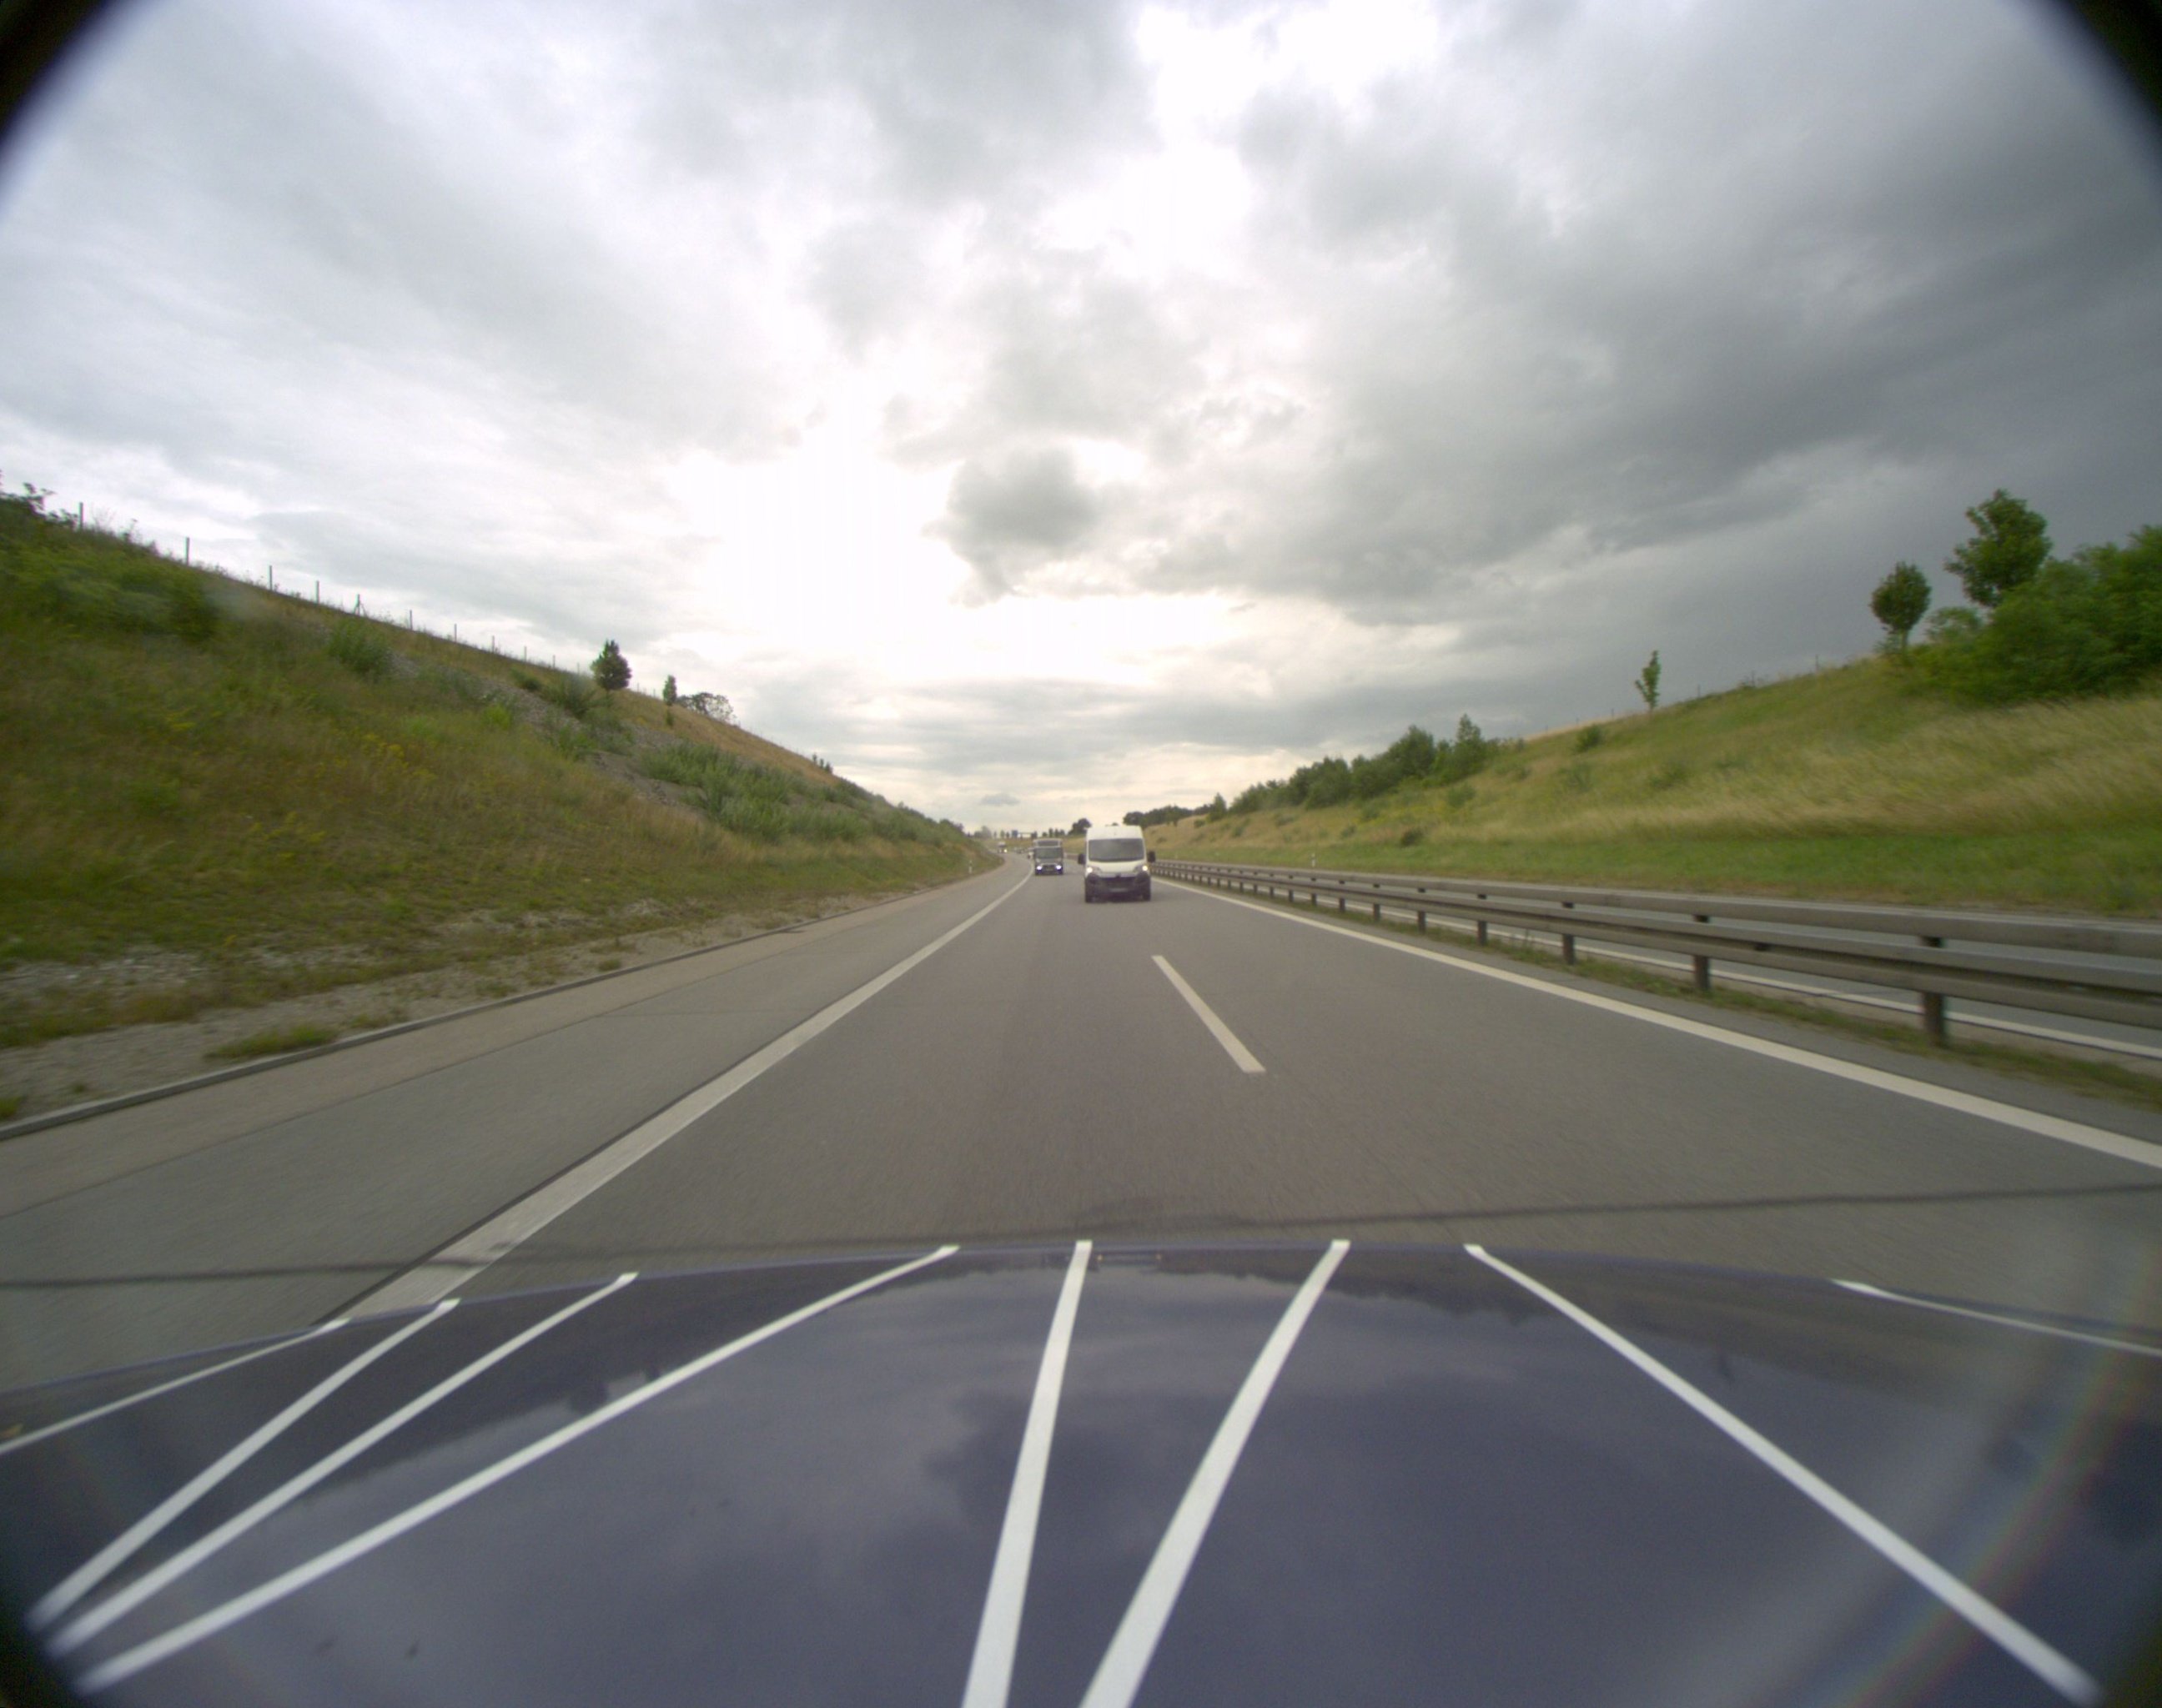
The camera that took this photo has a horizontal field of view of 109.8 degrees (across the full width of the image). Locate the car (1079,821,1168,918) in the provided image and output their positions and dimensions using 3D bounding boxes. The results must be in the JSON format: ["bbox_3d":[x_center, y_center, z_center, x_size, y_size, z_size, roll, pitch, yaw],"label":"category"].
[{"bbox_3d":[1.094,0.355,22.570,2.132,2.412,6.109,-2,1,-1],"label":"car"}]

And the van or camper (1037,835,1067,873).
[{"bbox_3d":[-2.196,-0.035,58.363,2.104,2.721,6.899,-1,1,-2],"label":"van or camper"}]

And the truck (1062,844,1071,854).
[{"bbox_3d":[-3.965,-1.303,203.910,2.197,2.495,6.551,-1,1,-3],"label":"truck"}]
